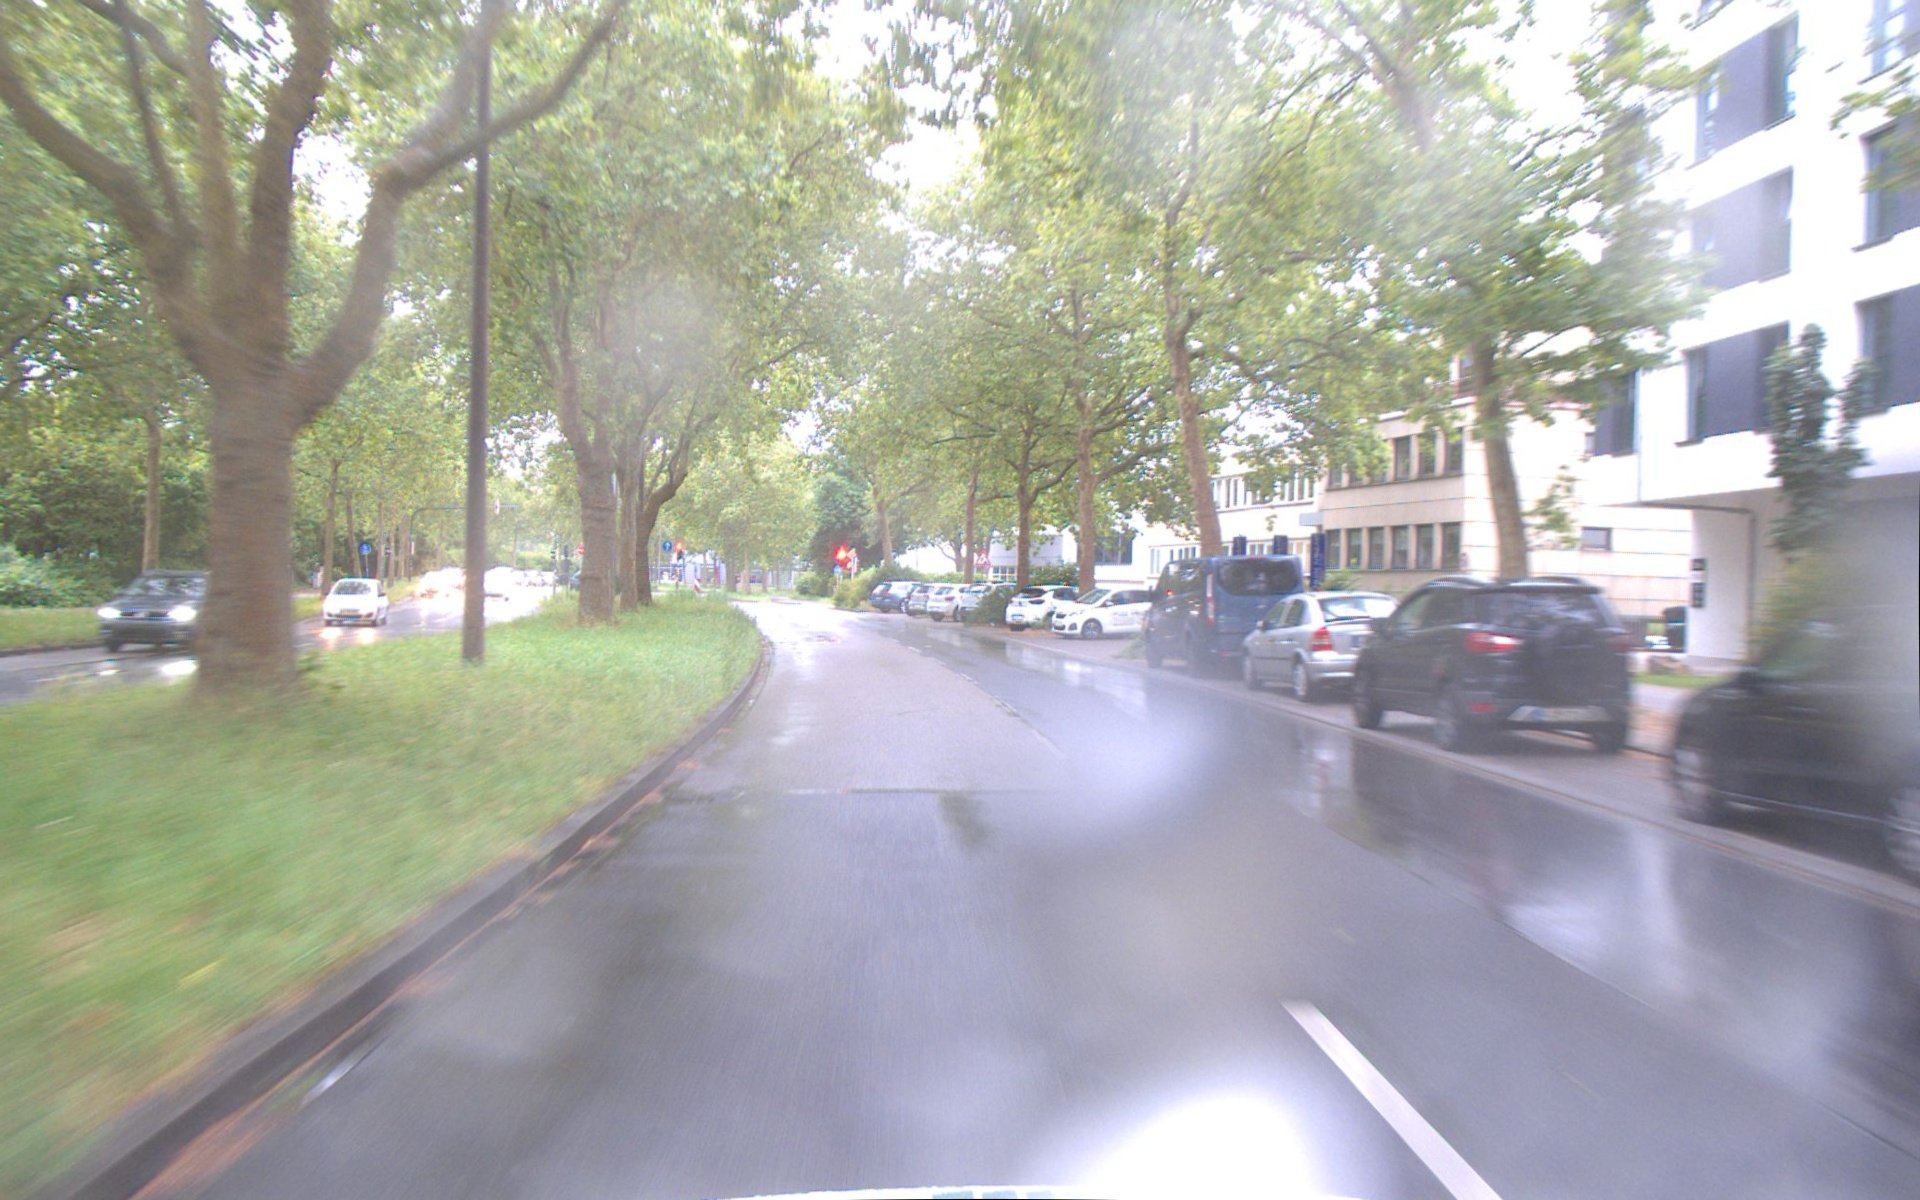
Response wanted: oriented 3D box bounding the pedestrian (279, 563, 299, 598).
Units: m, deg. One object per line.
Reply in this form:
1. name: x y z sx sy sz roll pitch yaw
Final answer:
1. pedestrian: -33.232 -0.965 81.939 0.817 1.703 0.896 1 0 -15

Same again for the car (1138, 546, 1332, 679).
1. car: 4.656 0.178 28.945 2.079 2.063 5.523 1 0 -4

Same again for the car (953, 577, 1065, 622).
1. car: 1.805 -0.008 60.431 4.003 1.566 1.723 1 0 -42

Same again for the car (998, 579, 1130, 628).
1. car: 3.245 0.109 51.117 4.000 1.453 1.724 1 0 -40

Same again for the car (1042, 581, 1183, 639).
1. car: 4.326 0.268 46.951 3.587 1.530 1.736 0 2 -24

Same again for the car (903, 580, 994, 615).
1. car: -0.477 -0.120 70.922 3.658 1.441 1.750 1 0 -40

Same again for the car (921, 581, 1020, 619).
1. car: 0.433 0.022 65.459 3.652 1.441 1.727 1 0 -36

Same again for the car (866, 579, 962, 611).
1. car: -2.201 -0.222 79.881 4.446 1.484 1.727 1 0 -36

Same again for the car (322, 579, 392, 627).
1. car: -19.642 0.089 54.001 1.714 1.485 3.828 1 0 -14

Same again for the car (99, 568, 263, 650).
1. car: -16.173 0.154 34.575 1.710 1.588 4.363 1 0 -6

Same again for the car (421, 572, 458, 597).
1. car: -31.977 -0.968 101.679 1.712 1.502 4.071 1 0 -12

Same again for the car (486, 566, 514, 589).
1. car: -32.878 -1.586 118.183 1.713 1.619 4.316 1 0 -13

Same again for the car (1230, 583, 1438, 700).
1. car: 5.214 0.526 23.635 1.709 1.495 4.302 1 0 -4

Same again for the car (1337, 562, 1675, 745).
1. car: 5.335 0.457 16.810 1.709 1.594 4.368 1 0 -4

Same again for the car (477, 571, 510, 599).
1. car: -26.996 -0.874 95.672 1.715 1.502 4.390 1 0 -17

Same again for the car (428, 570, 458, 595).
1. car: -36.641 -1.228 117.371 1.713 1.618 4.196 0 2 -13

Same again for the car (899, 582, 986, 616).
1. car: -0.779 -0.045 74.190 3.658 1.441 1.724 1 0 -40

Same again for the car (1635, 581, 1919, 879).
1. car: 5.679 0.658 9.684 1.708 1.502 4.082 1 0 -1
